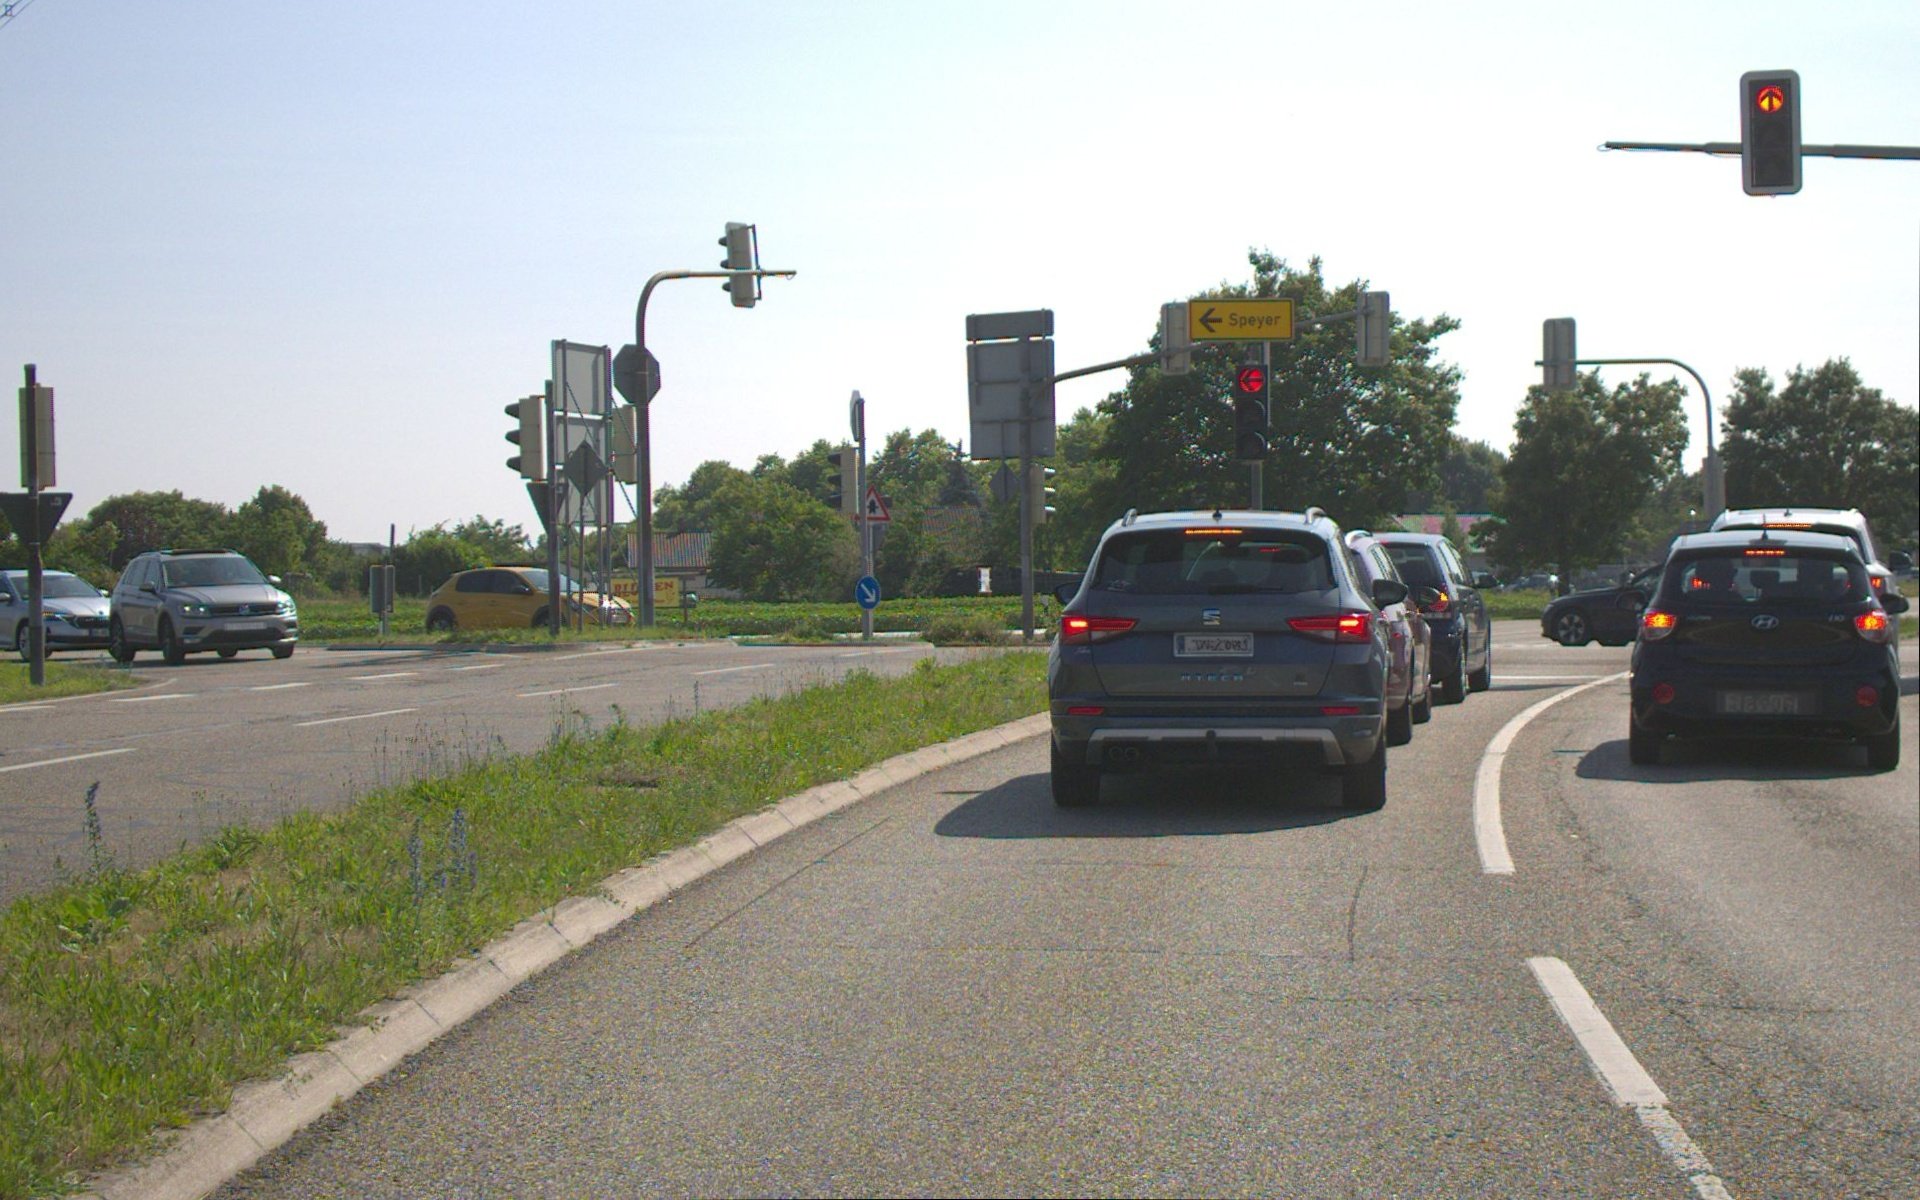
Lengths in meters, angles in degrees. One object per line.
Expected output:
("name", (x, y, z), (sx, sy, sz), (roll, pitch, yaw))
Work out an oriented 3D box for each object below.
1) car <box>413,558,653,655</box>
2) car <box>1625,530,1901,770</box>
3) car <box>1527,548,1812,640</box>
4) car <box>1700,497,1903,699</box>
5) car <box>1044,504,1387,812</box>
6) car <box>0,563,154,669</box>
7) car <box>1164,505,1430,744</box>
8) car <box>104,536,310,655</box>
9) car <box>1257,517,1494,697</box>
("car", (-7.554, 0.110, 60.702), (3.995, 1.645, 1.817), (0, 1, 35))
("car", (5.305, 0.272, 22.674), (1.634, 1.443, 3.293), (1, 1, 14))
("car", (11.289, -0.098, 54.788), (4.098, 1.411, 1.713), (0, 1, 34))
("car", (7.490, -0.044, 30.634), (1.634, 1.671, 3.747), (1, 1, 14))
("car", (1.511, 0.269, 19.328), (1.742, 1.563, 3.623), (0, 1, 7))
("car", (-14.901, 0.240, 55.757), (1.815, 1.645, 3.998), (-1, 1, -43))
("car", (2.495, 0.141, 24.796), (1.742, 1.563, 3.623), (1, 1, 8))
("car", (-11.010, -0.085, 50.086), (1.814, 1.645, 4.000), (-1, 1, -30))
("car", (3.765, 0.033, 30.705), (1.743, 1.479, 3.622), (1, 1, 12))
